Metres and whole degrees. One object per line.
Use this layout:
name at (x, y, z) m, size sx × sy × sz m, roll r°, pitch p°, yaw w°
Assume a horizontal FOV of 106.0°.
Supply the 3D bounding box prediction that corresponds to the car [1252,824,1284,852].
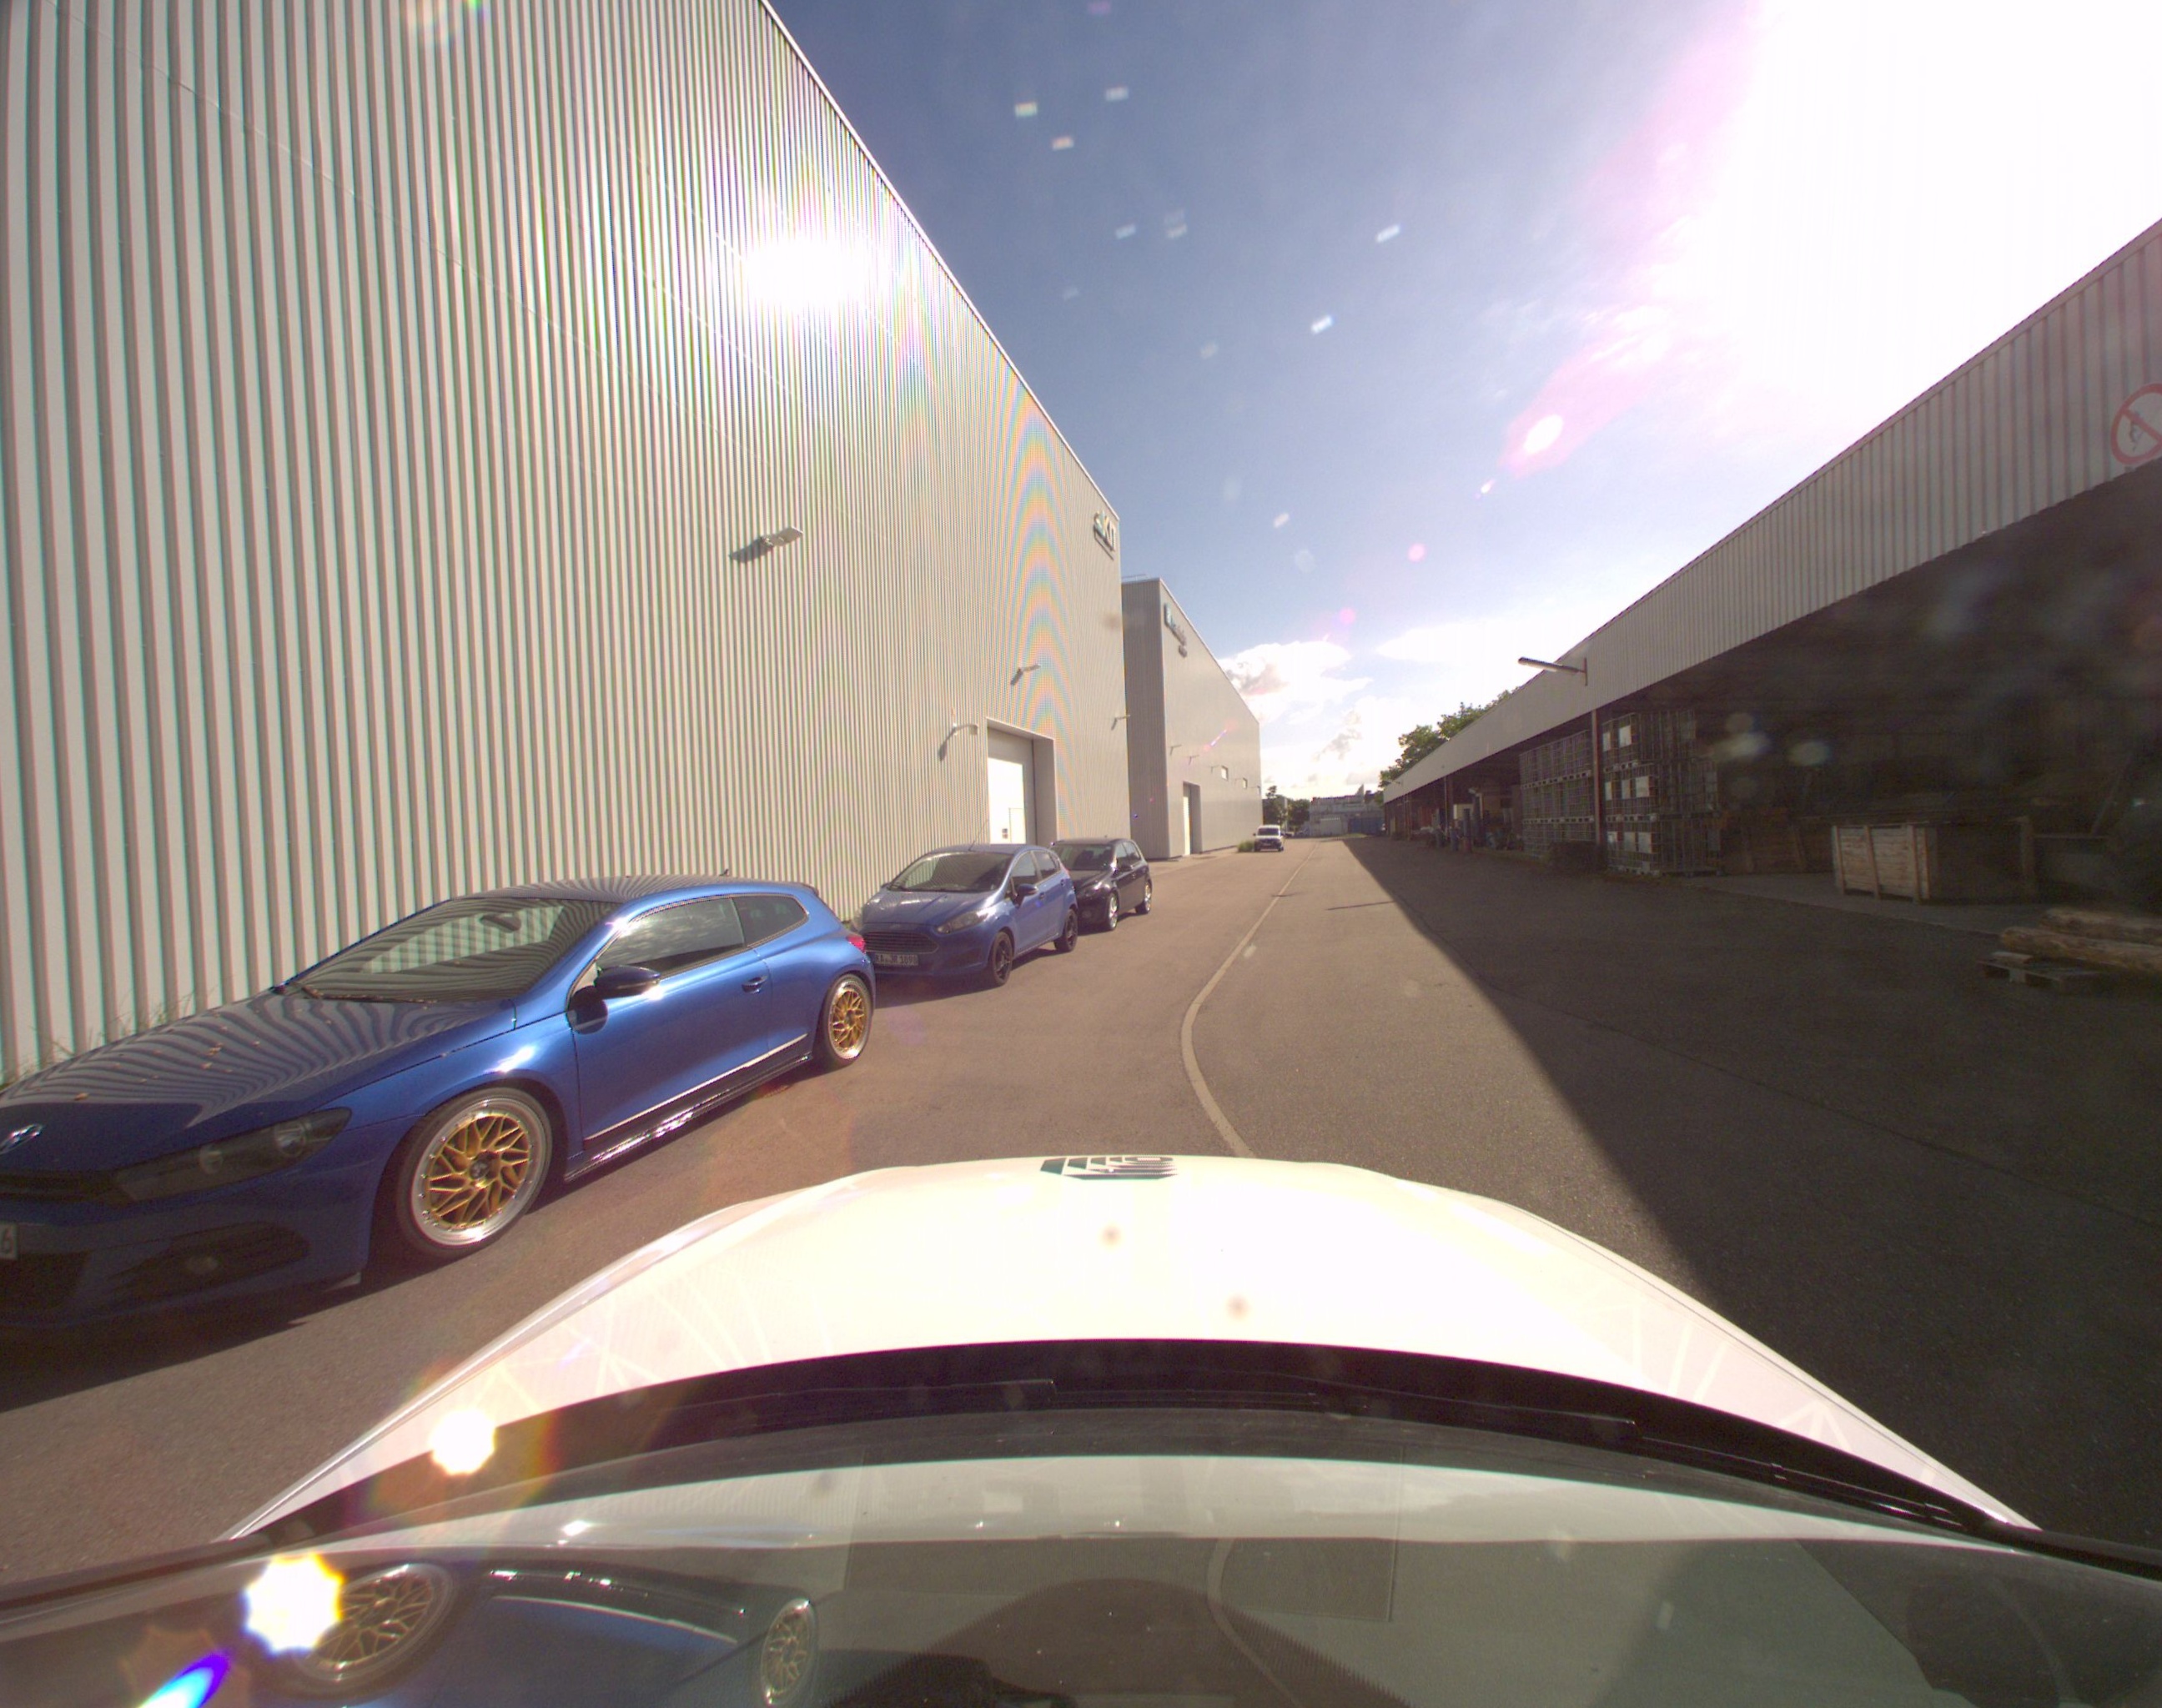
car at (12.835, -1.099, 55.630) m, size 1.894 × 1.793 × 4.017 m, roll -2°, pitch 1°, yaw 15°

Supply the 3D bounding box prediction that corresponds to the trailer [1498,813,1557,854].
trailer at (17.242, -0.807, 31.521) m, size 1.535 × 1.518 × 1.920 m, roll 0°, pitch 3°, yaw 12°

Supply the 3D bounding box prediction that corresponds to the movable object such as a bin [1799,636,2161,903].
movable object such as a bin at (13.804, -1.099, 10.022) m, size 6.881 × 2.905 × 2.698 m, roll -3°, pitch 1°, yaw 16°

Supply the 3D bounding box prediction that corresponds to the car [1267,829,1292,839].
car at (33.093, -3.268, 135.701) m, size 3.855 × 1.461 × 1.630 m, roll -2°, pitch 1°, yaw 16°

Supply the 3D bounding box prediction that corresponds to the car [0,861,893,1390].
car at (-2.774, 0.794, 4.427) m, size 1.656 × 1.350 × 3.971 m, roll -1°, pitch 2°, yaw 16°

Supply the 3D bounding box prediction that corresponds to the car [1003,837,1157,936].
car at (0.134, 0.456, 14.490) m, size 1.637 × 1.446 × 3.896 m, roll 1°, pitch 2°, yaw 17°

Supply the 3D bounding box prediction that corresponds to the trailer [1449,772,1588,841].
trailer at (24.539, -2.610, 46.004) m, size 6.340 × 3.370 × 2.837 m, roll -3°, pitch 1°, yaw 16°

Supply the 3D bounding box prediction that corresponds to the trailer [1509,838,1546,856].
trailer at (15.673, -0.250, 28.623) m, size 0.964 × 0.567 × 0.735 m, roll 0°, pitch 3°, yaw 12°

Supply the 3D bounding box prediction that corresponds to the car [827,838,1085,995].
car at (-1.246, 0.573, 9.785) m, size 1.607 × 1.447 × 3.781 m, roll -1°, pitch 1°, yaw 16°

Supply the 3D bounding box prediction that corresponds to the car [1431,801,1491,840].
car at (26.607, -2.350, 57.076) m, size 3.477 × 2.441 × 2.009 m, roll -3°, pitch 1°, yaw 17°

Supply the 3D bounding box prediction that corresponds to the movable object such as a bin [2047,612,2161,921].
movable object such as a bin at (13.153, -0.977, 6.632) m, size 6.304 × 2.905 × 2.698 m, roll -3°, pitch 1°, yaw 17°
